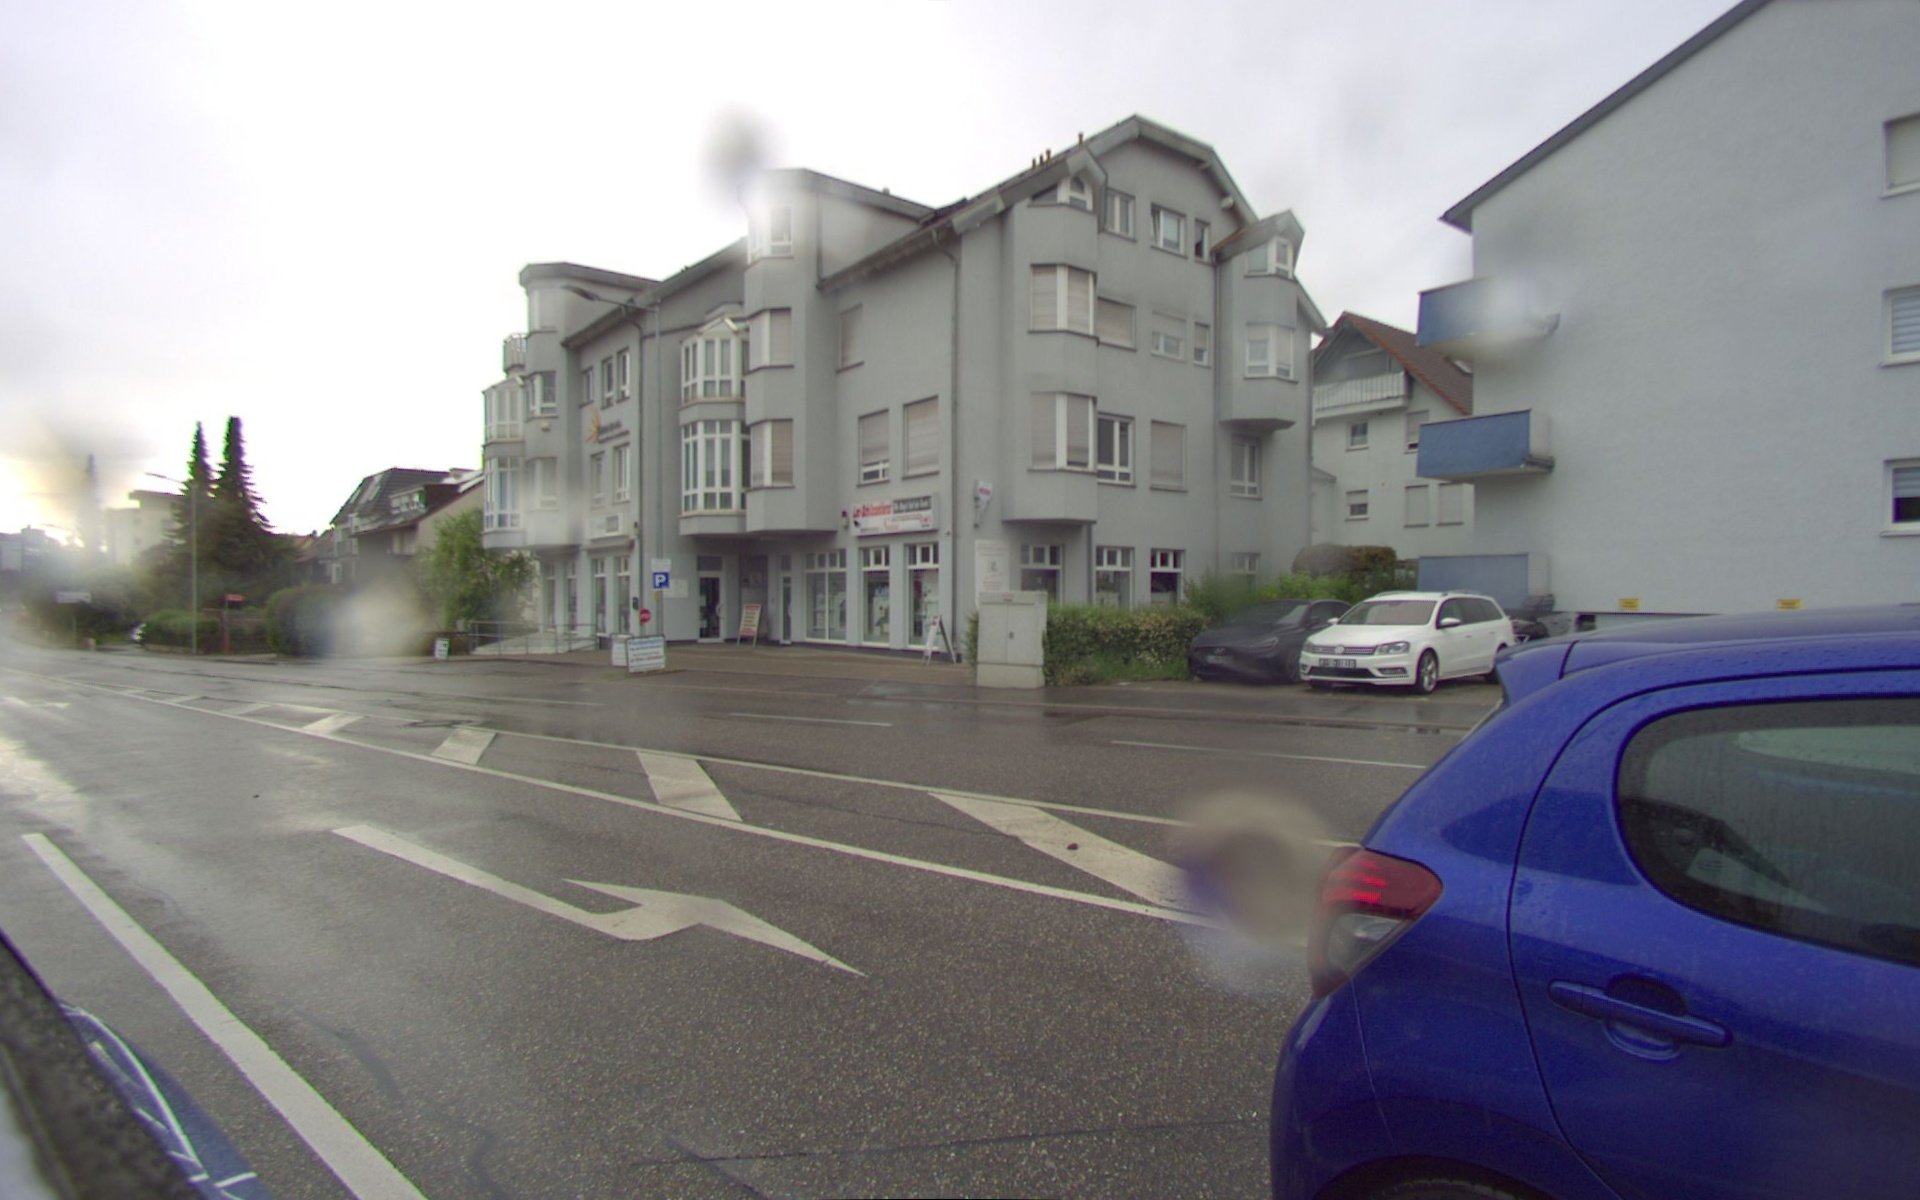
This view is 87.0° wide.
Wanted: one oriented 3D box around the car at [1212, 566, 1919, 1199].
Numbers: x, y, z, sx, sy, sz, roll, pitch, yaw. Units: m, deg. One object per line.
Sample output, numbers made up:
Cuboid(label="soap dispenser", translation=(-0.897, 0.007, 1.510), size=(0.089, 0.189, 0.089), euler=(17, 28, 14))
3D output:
Cuboid(label="car", translation=(2.193, 0.641, 1.283), size=(3.269, 1.421, 1.562), euler=(-2, 0, 42))
